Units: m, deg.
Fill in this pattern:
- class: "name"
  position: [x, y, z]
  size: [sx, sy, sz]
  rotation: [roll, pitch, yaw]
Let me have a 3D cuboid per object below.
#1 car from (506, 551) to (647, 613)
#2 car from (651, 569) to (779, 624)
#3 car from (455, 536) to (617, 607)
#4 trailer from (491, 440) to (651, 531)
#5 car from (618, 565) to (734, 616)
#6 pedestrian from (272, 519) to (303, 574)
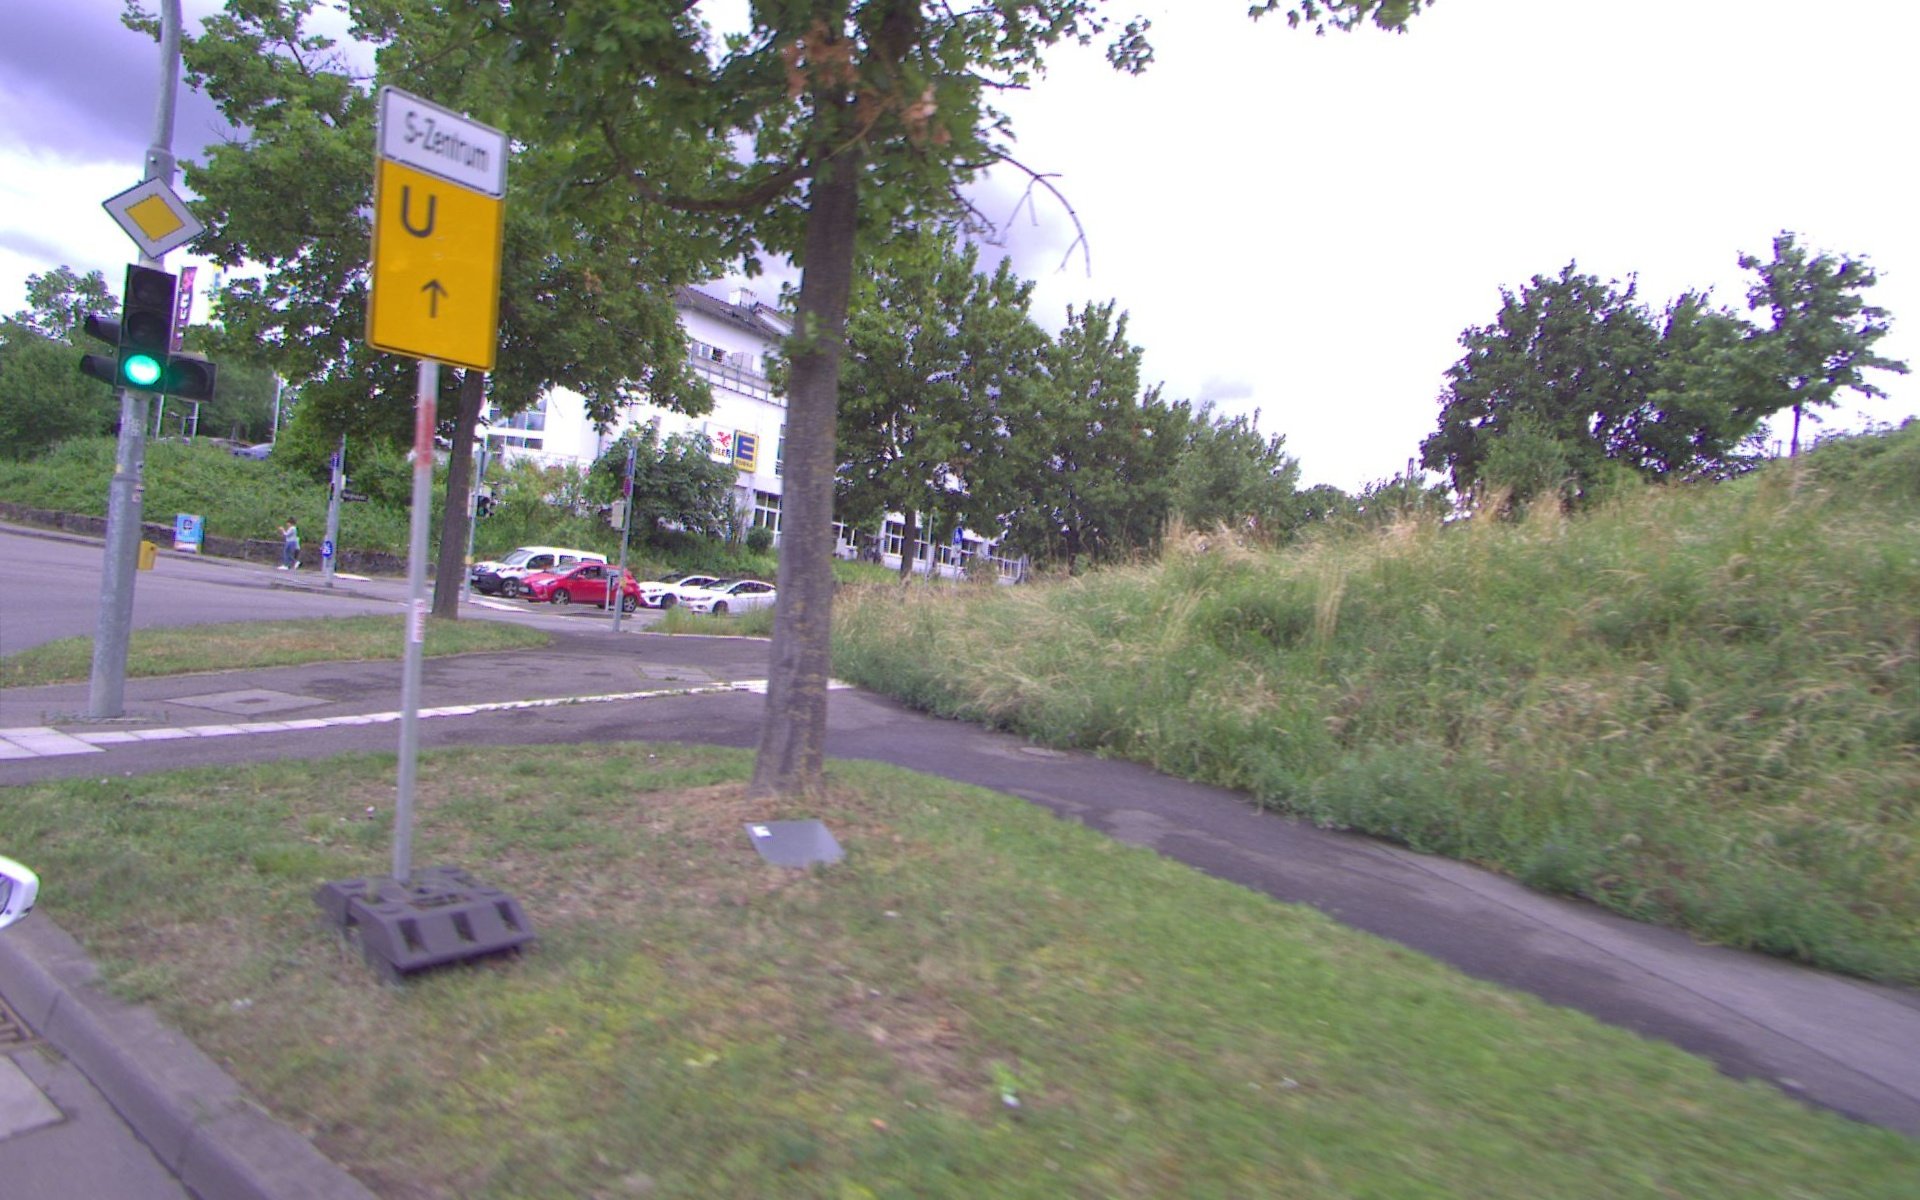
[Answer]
- class: "car"
  position: [-12.317, -0.547, 32.520]
  size: [1.733, 1.515, 3.819]
  rotation: [7, 0, 37]
- class: "car"
  position: [-8.882, -0.094, 36.748]
  size: [1.733, 1.473, 4.298]
  rotation: [7, 0, 37]
- class: "car"
  position: [-14.483, -0.946, 34.606]
  size: [1.922, 1.822, 4.706]
  rotation: [7, 0, 37]
- class: "trailer"
  position: [-18.536, -5.441, 48.163]
  size: [6.371, 3.090, 2.473]
  rotation: [8, -1, 5]
- class: "car"
  position: [-10.988, -0.335, 39.113]
  size: [1.936, 1.473, 3.820]
  rotation: [7, 0, 37]
- class: "pedestrian"
  position: [-21.378, -1.696, 31.979]
  size: [0.618, 1.627, 0.575]
  rotation: [8, -1, -33]
